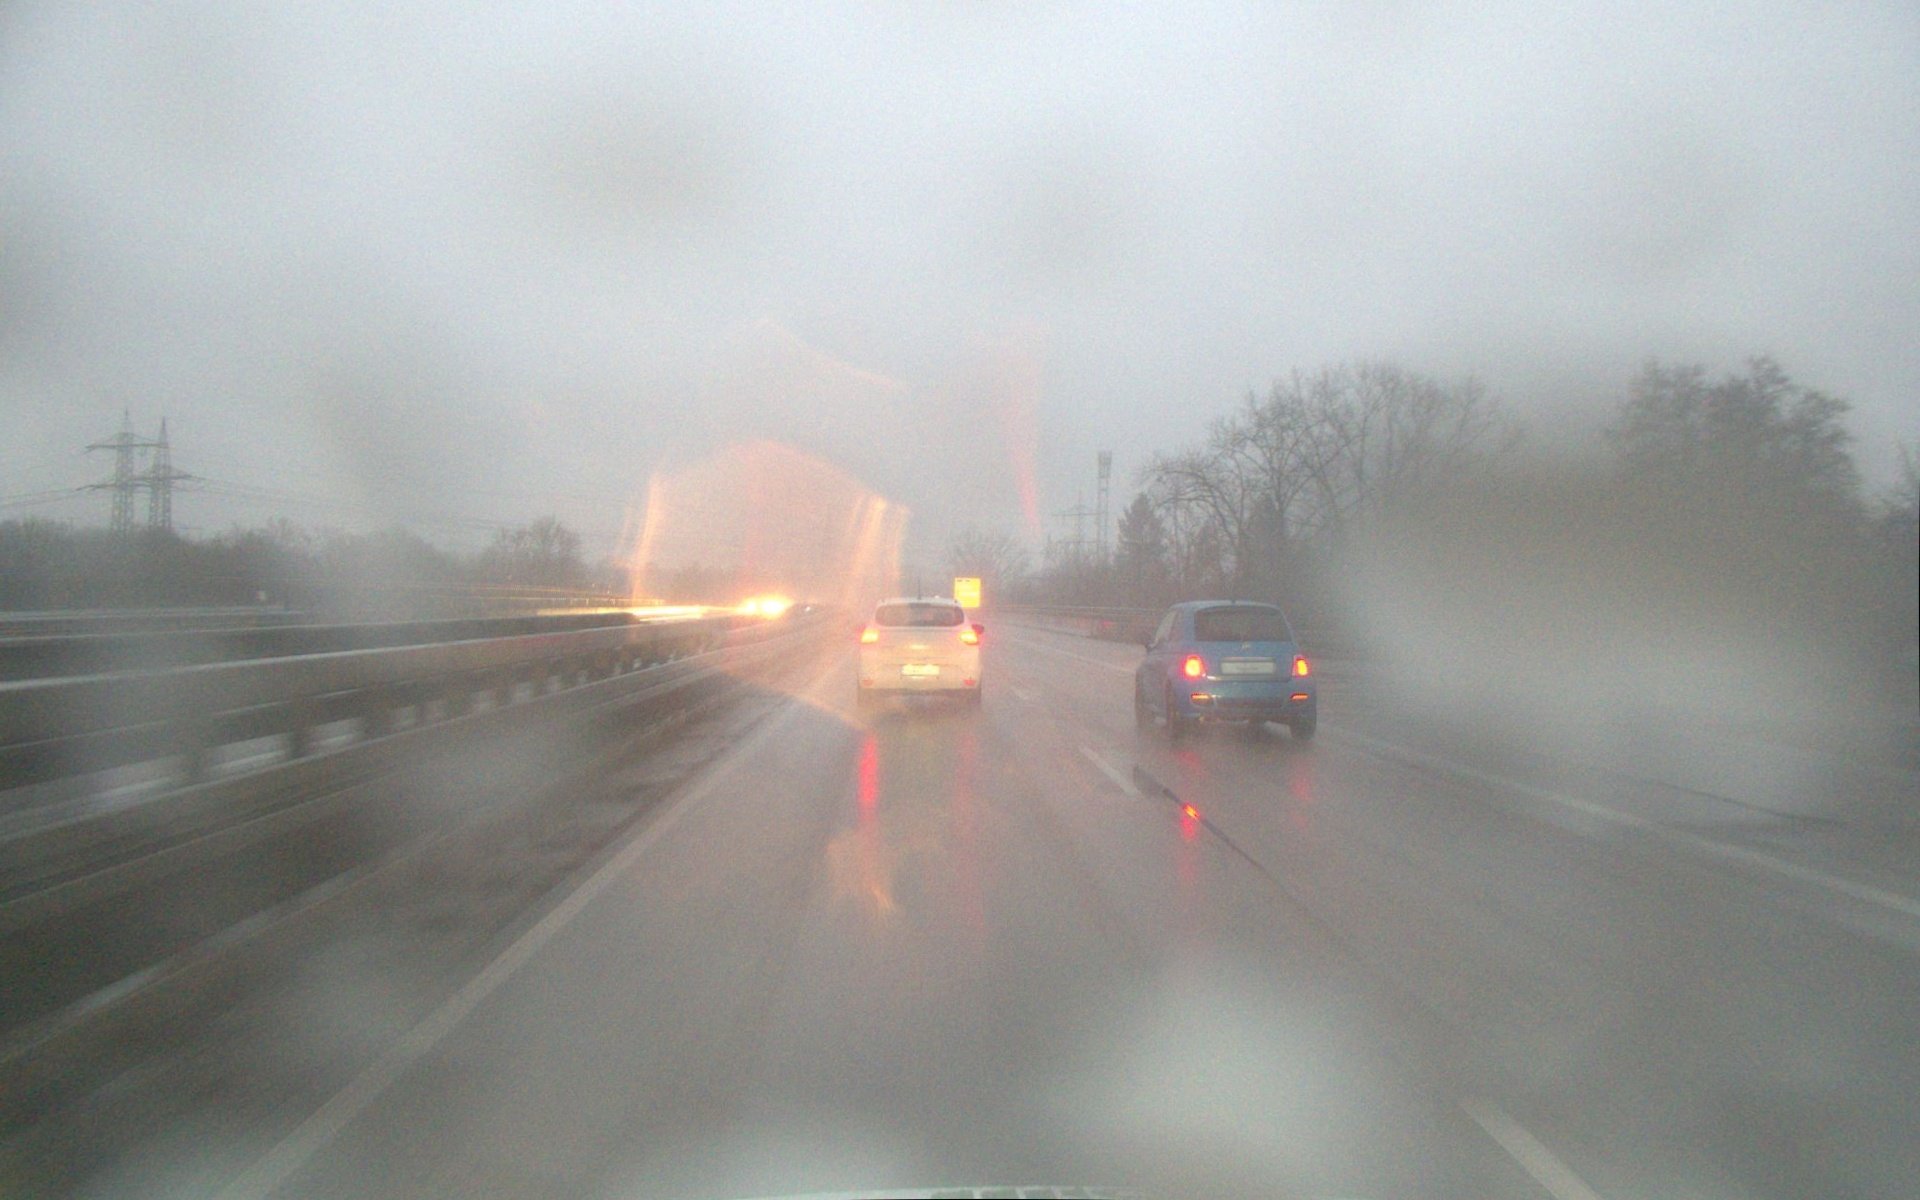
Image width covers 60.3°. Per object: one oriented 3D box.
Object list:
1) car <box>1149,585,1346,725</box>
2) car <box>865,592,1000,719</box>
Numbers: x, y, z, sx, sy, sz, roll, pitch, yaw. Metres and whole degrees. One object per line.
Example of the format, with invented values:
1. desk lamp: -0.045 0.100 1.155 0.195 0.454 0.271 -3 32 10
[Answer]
1. car: 3.340 0.575 19.921 1.807 1.479 4.150 1 1 2
2. car: -0.383 0.742 24.117 1.808 1.664 3.767 1 1 -1
